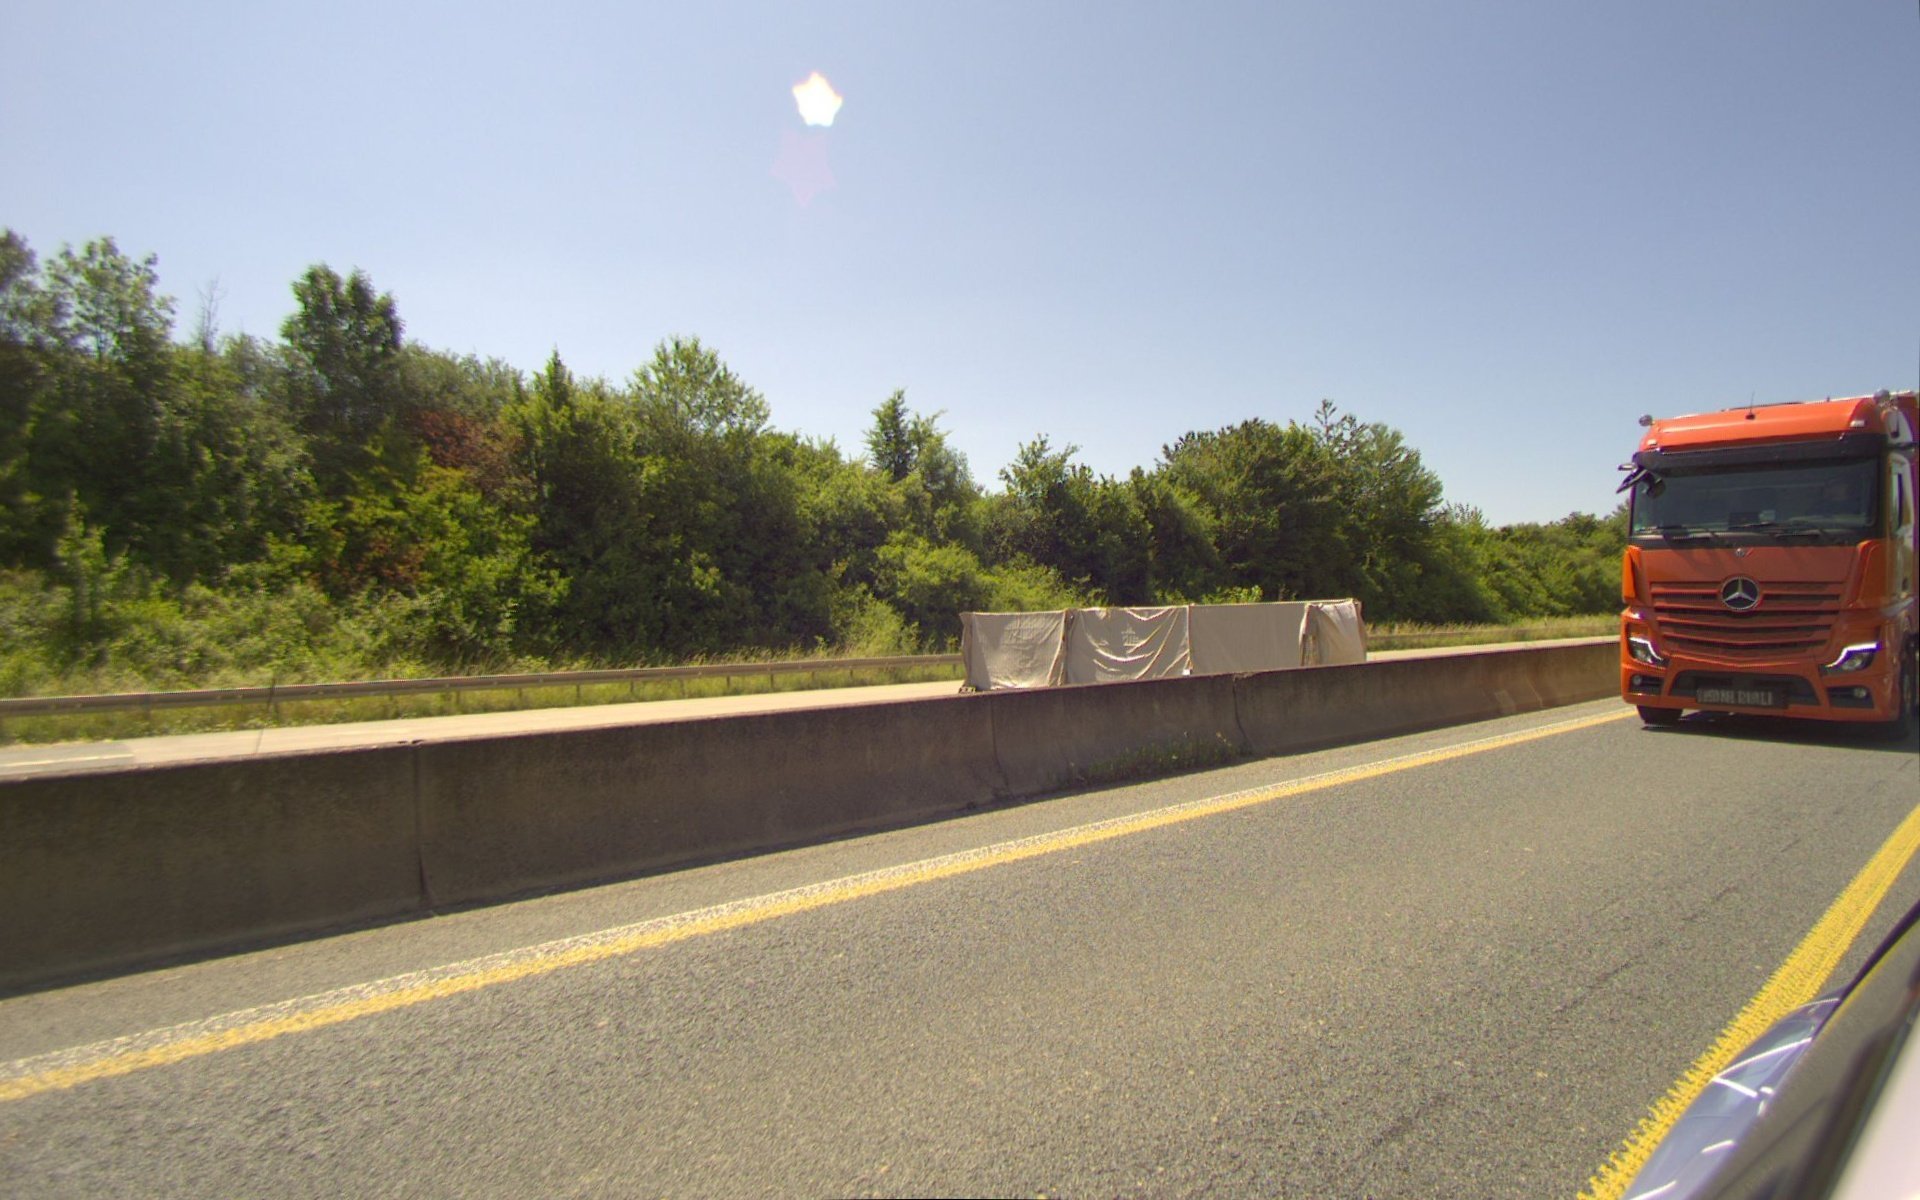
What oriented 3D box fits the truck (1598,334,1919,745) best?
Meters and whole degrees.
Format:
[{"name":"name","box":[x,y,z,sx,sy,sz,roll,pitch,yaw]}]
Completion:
[{"name":"truck","box":[11.002,-0.607,13.179,6.607,4.061,2.687,0,-1,-40]}]

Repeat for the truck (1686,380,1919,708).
[{"name":"truck","box":[16.068,-0.674,17.644,12.989,4.061,2.686,0,-1,-41]}]
